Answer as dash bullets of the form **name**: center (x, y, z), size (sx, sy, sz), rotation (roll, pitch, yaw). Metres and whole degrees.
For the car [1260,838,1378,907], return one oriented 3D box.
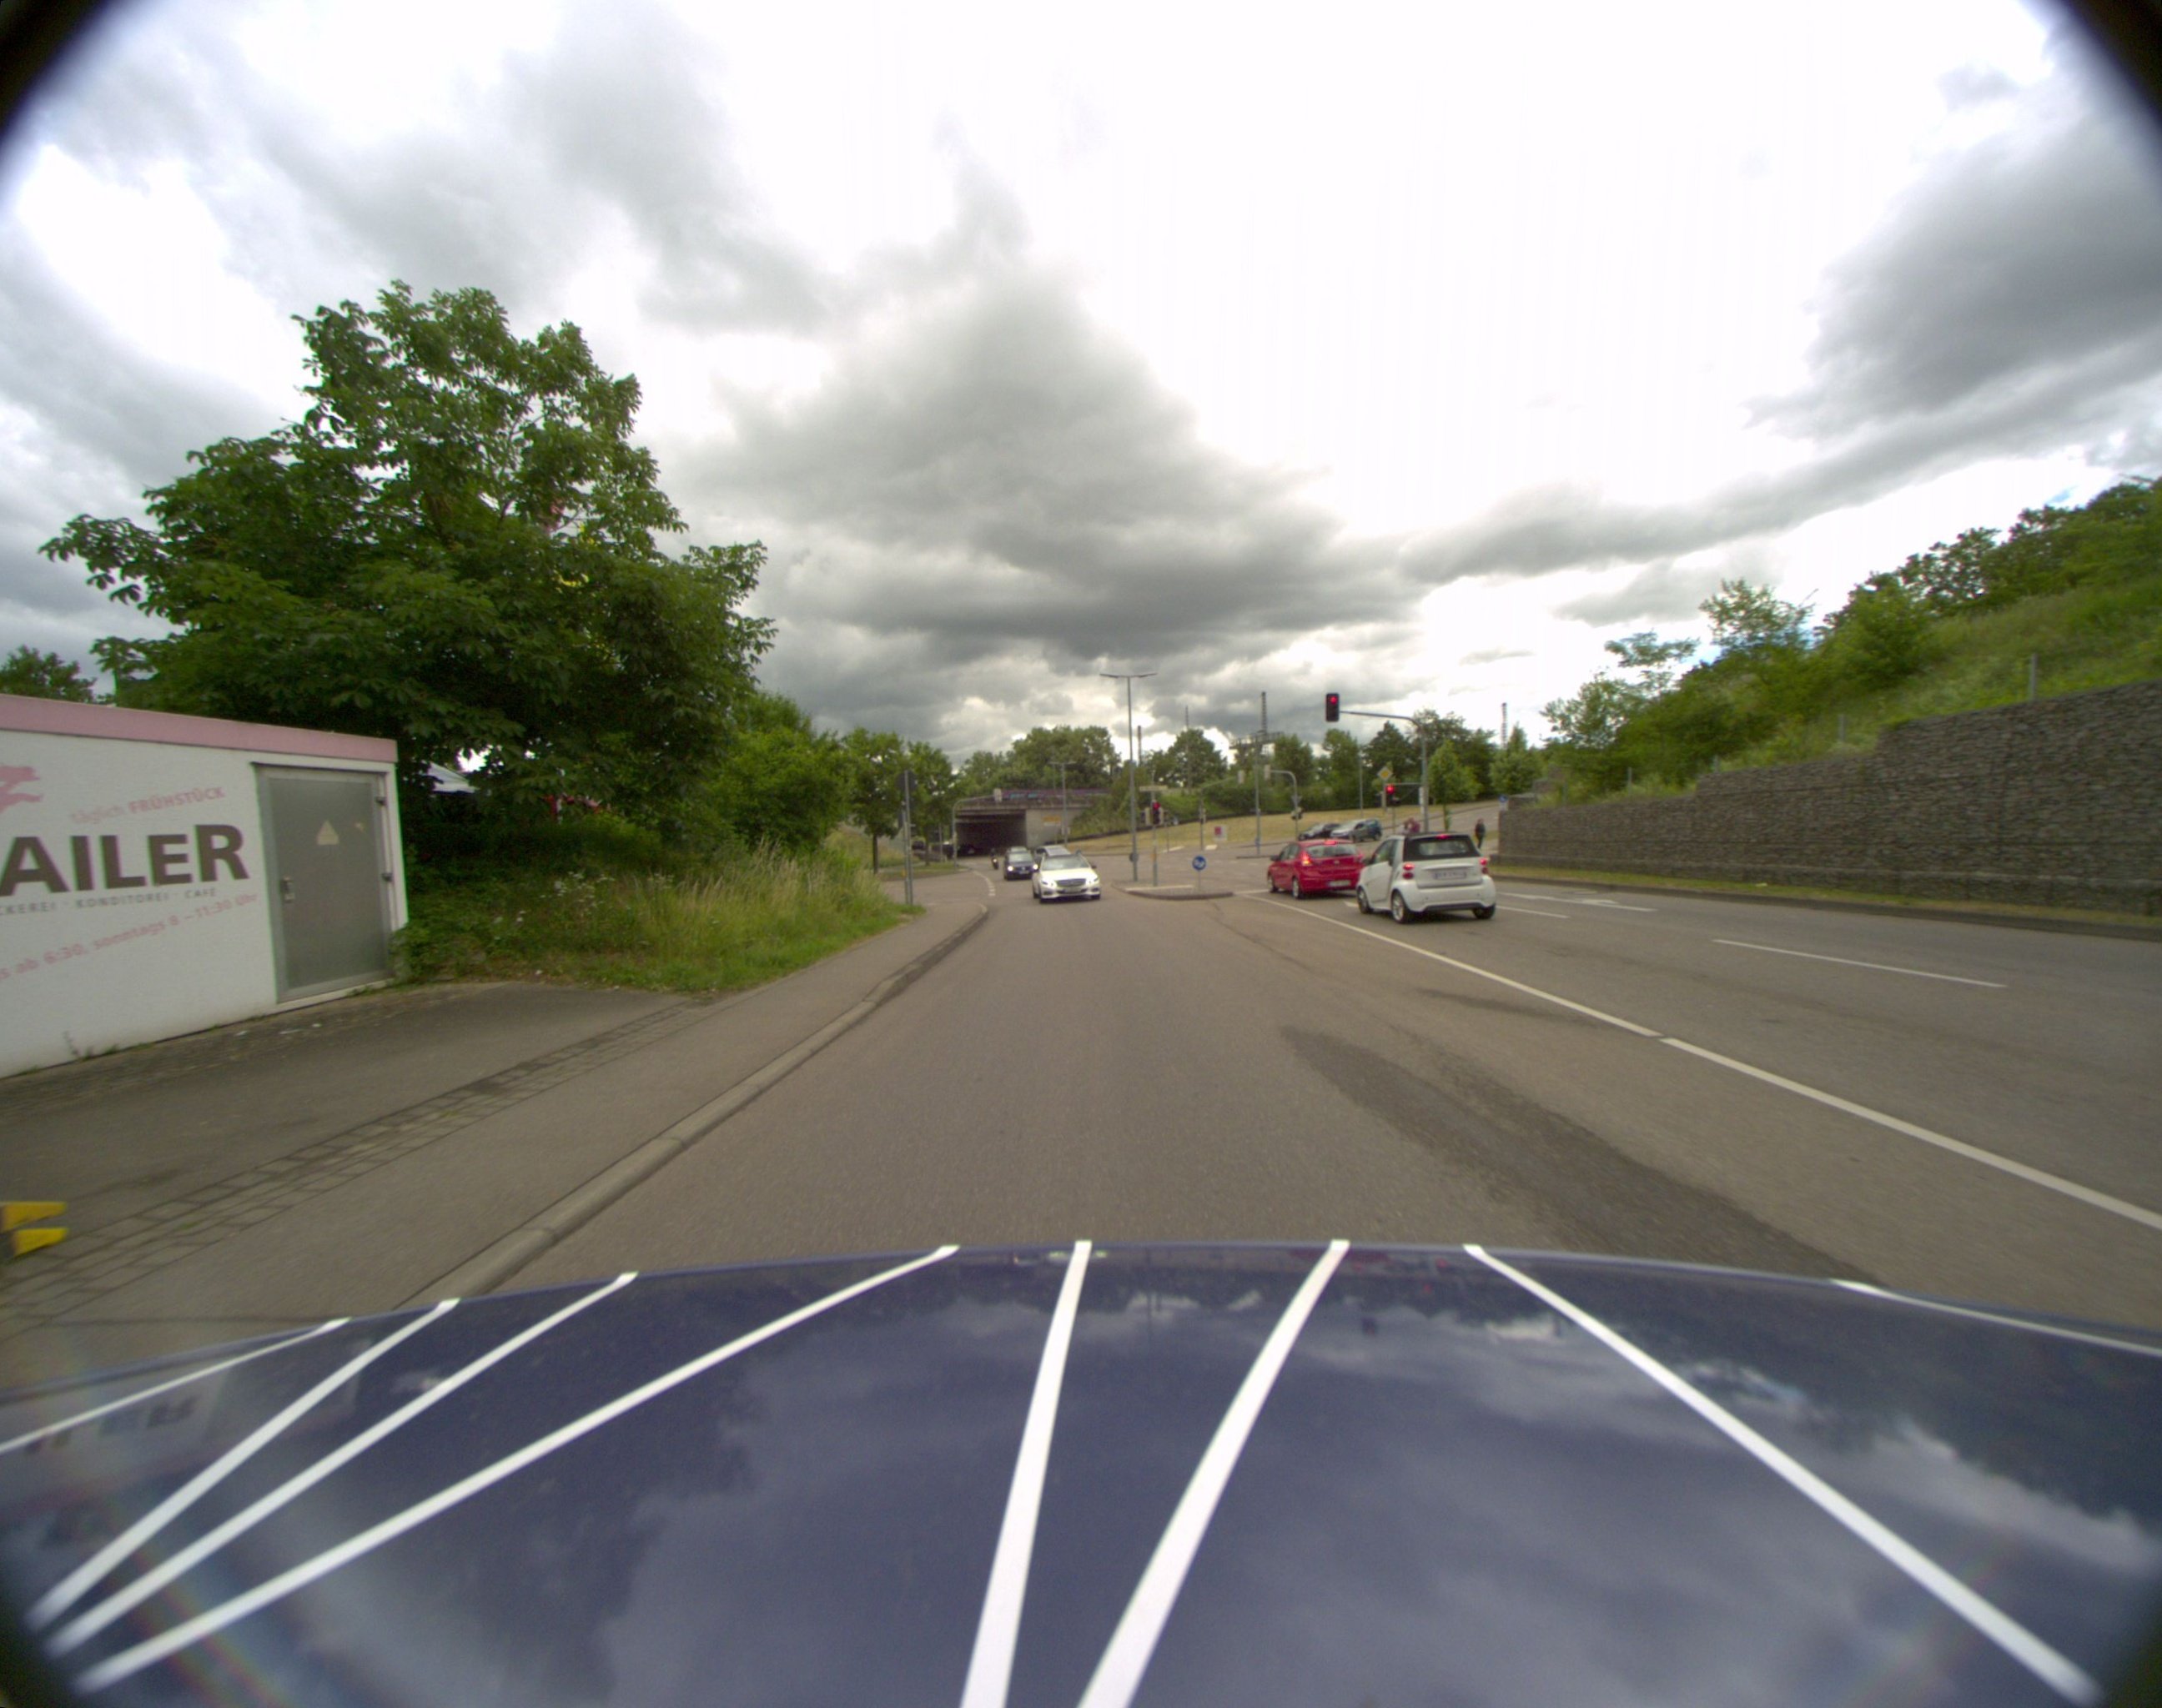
- **car**: center (6.166, 0.401, 20.196), size (1.759, 1.515, 4.091), rotation (-4, 1, 0)

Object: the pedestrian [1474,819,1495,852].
- **pedestrian**: center (19.395, -0.880, 36.544), size (0.580, 1.549, 0.623), rotation (-5, 3, -13)

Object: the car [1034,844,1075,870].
- **car**: center (-1.980, 0.188, 55.819), size (1.832, 1.629, 4.504), rotation (-5, 2, -17)

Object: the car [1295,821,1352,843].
- **car**: center (20.457, -1.872, 64.120), size (4.267, 1.543, 2.106), rotation (-5, 3, -28)

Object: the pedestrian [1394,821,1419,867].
- **pedestrian**: center (12.252, -0.359, 28.608), size (0.664, 1.669, 0.625), rotation (-2, 3, 35)

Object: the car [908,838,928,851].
- **car**: center (-24.916, -1.494, 115.973), size (1.968, 1.781, 3.991), rotation (-5, 3, -27)

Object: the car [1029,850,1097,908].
- **car**: center (-0.508, 0.724, 24.631), size (1.905, 1.472, 4.093), rotation (-4, 2, 1)

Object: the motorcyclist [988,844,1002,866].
- **motorcyclist**: center (-6.767, 0.067, 59.850), size (0.883, 1.596, 1.242), rotation (-4, 2, -14)

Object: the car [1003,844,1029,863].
- **car**: center (-5.844, -0.085, 68.183), size (1.760, 1.525, 4.249), rotation (-5, 2, -11)

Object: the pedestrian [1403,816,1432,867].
- **pedestrian**: center (12.408, -0.448, 28.034), size (0.625, 1.817, 0.664), rotation (-5, 3, -25)

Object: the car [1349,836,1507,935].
- **car**: center (6.169, 0.495, 13.845), size (1.547, 1.514, 2.914), rotation (-4, 1, 2)

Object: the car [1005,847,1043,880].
- **car**: center (-3.111, 0.513, 42.455), size (1.759, 1.532, 3.998), rotation (-4, 2, -1)

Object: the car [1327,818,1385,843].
- **car**: center (21.851, -1.856, 60.310), size (4.267, 1.719, 1.756), rotation (-5, 3, -26)

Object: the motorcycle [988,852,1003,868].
- **motorcycle**: center (-6.750, 0.476, 59.936), size (0.883, 1.098, 2.357), rotation (-4, 2, -13)

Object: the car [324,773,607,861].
- **car**: center (-13.307, -0.842, 16.867), size (4.517, 1.629, 1.827), rotation (-5, 3, -30)
